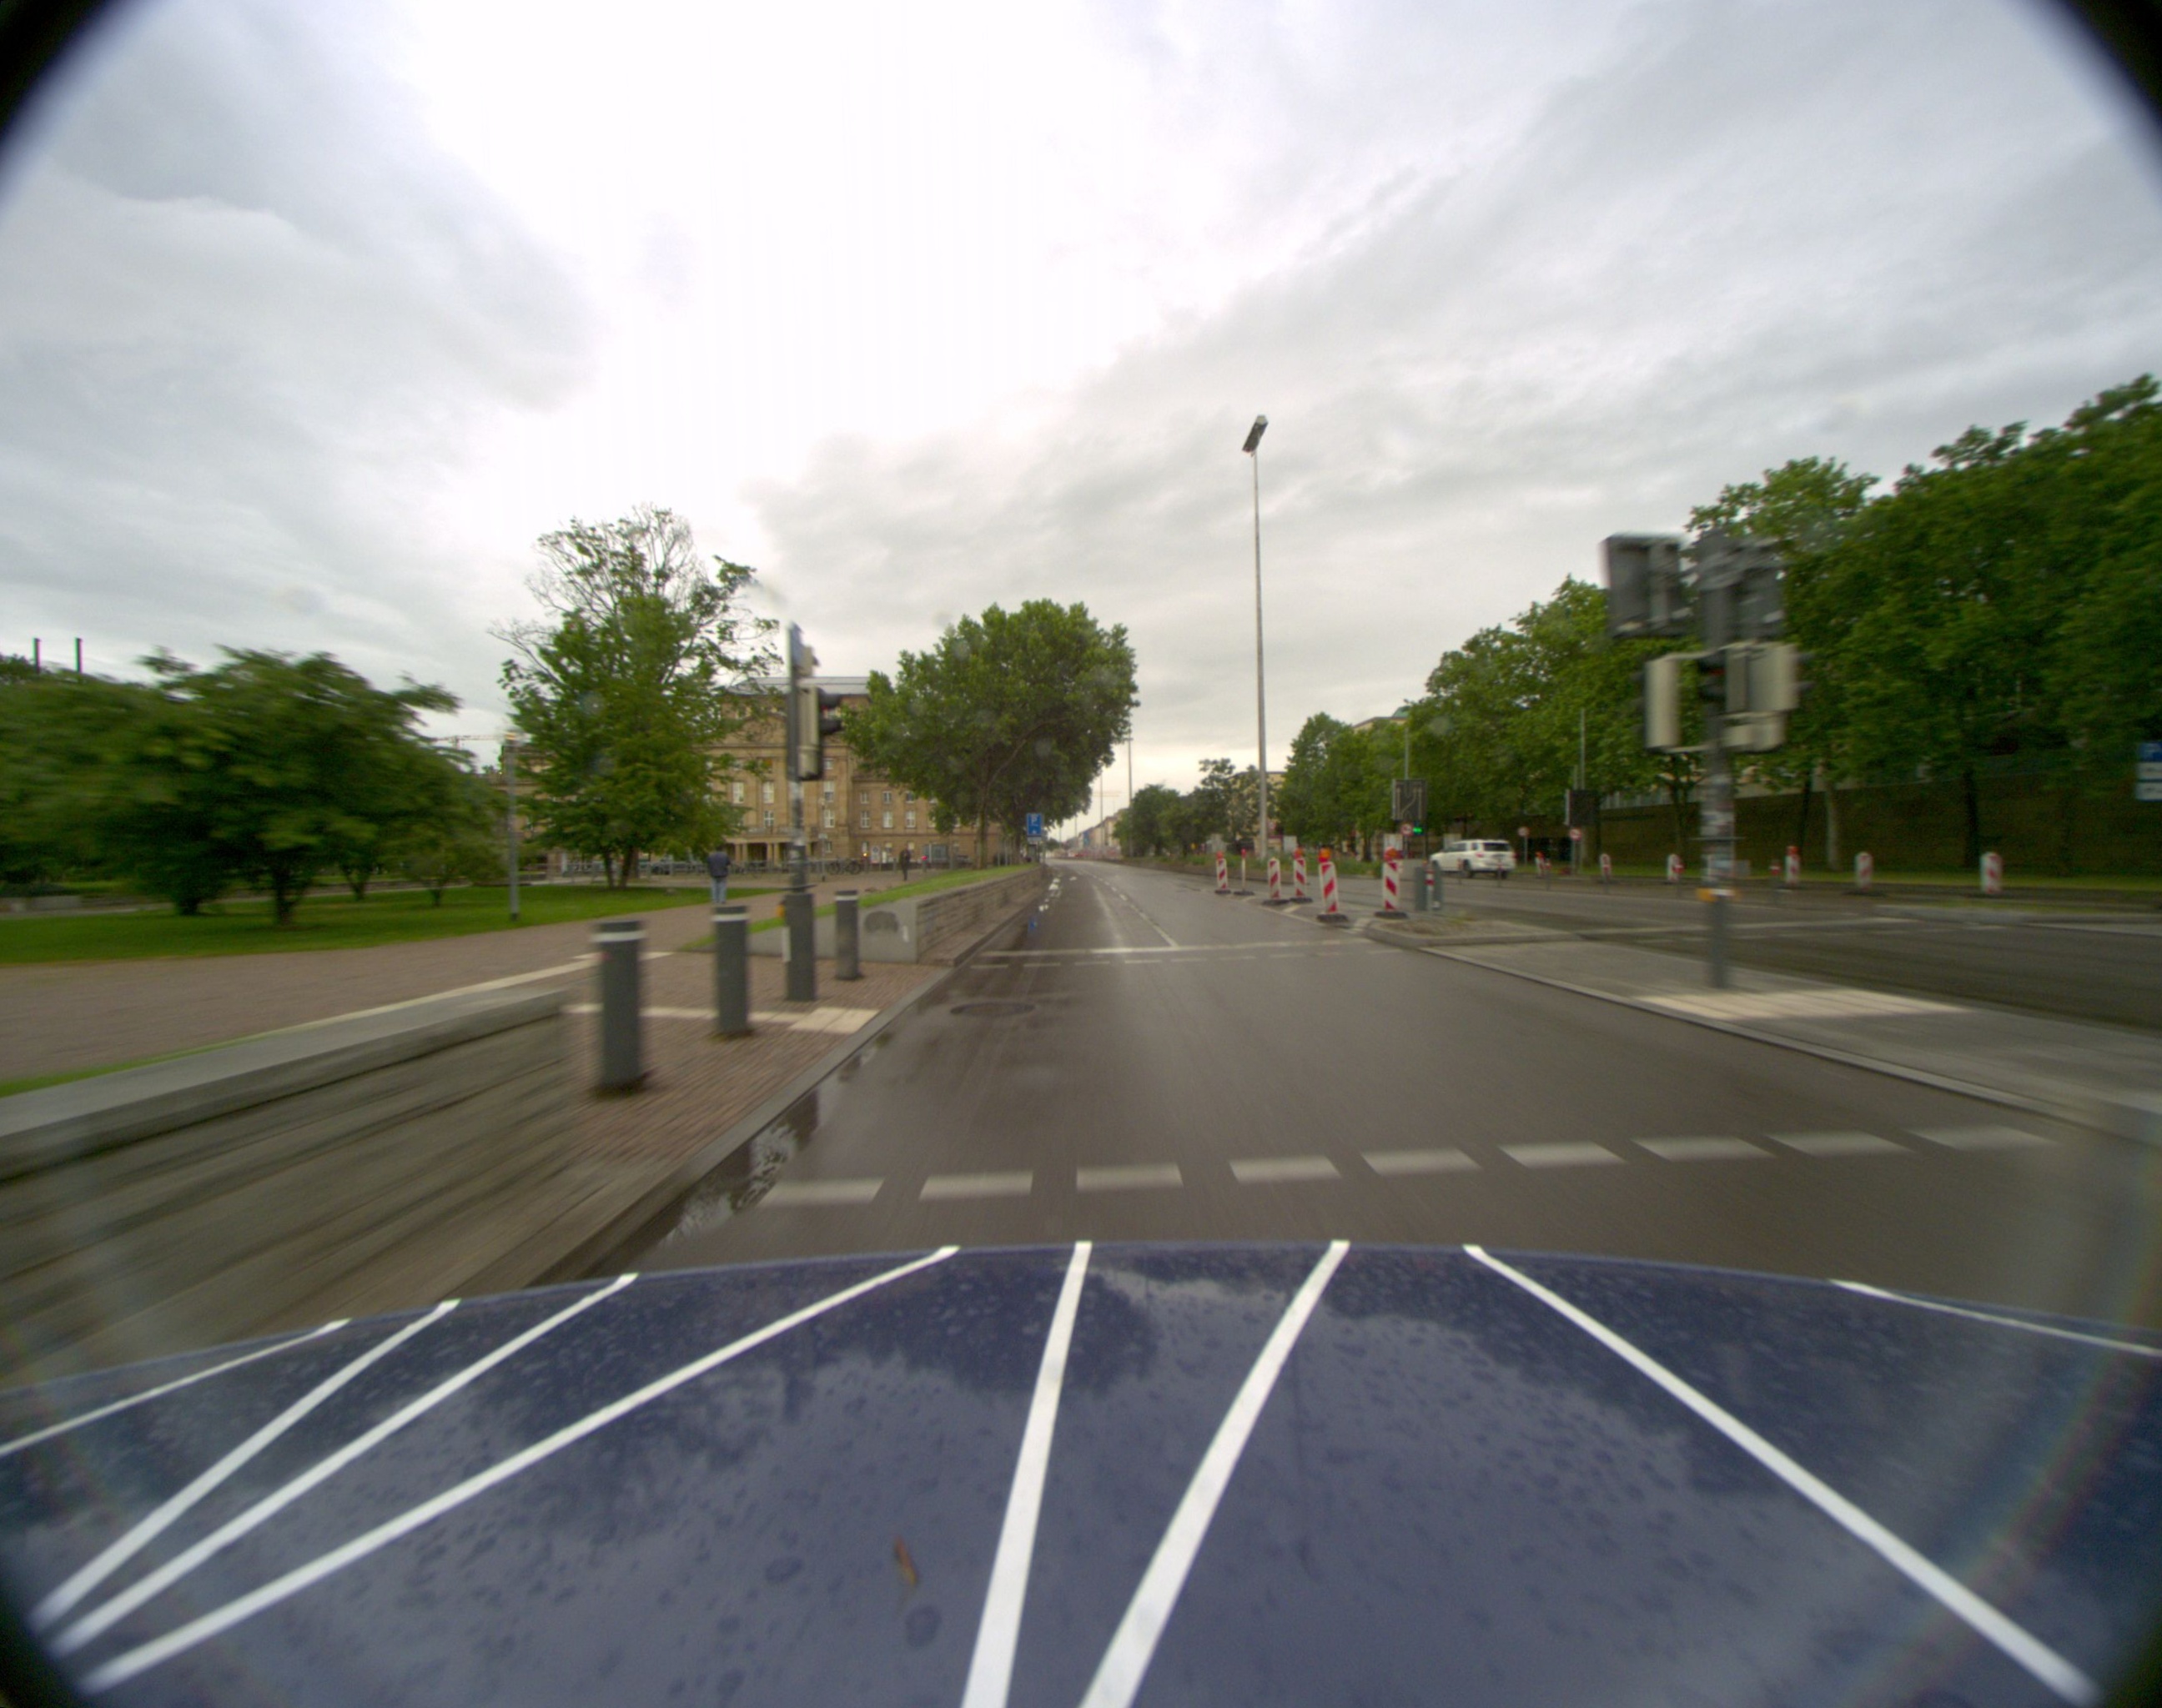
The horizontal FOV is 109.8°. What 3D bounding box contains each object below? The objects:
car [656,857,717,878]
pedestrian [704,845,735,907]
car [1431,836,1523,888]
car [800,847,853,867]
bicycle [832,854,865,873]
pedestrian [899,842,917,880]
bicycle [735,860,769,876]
[{"bbox_3d":[-34.751,1.184,66.984,4.296,1.584,1.956,-2,1,-4],"label":"car"},{"bbox_3d":[-9.792,0.589,20.609,0.671,1.655,0.587,0,1,-17],"label":"pedestrian"},{"bbox_3d":[19.018,0.360,36.723,1.999,2.286,4.227,-2,1,-3],"label":"car"},{"bbox_3d":[-22.280,0.263,66.532,3.948,1.584,1.956,-2,1,-4],"label":"car"},{"bbox_3d":[-13.451,0.542,43.946,1.758,1.059,0.827,-3,1,-21],"label":"bicycle"},{"bbox_3d":[-8.137,0.325,35.824,0.594,1.764,0.587,-2,1,4],"label":"pedestrian"},{"bbox_3d":[-17.418,0.722,40.234,1.627,0.791,0.509,-1,1,-21],"label":"bicycle"}]
